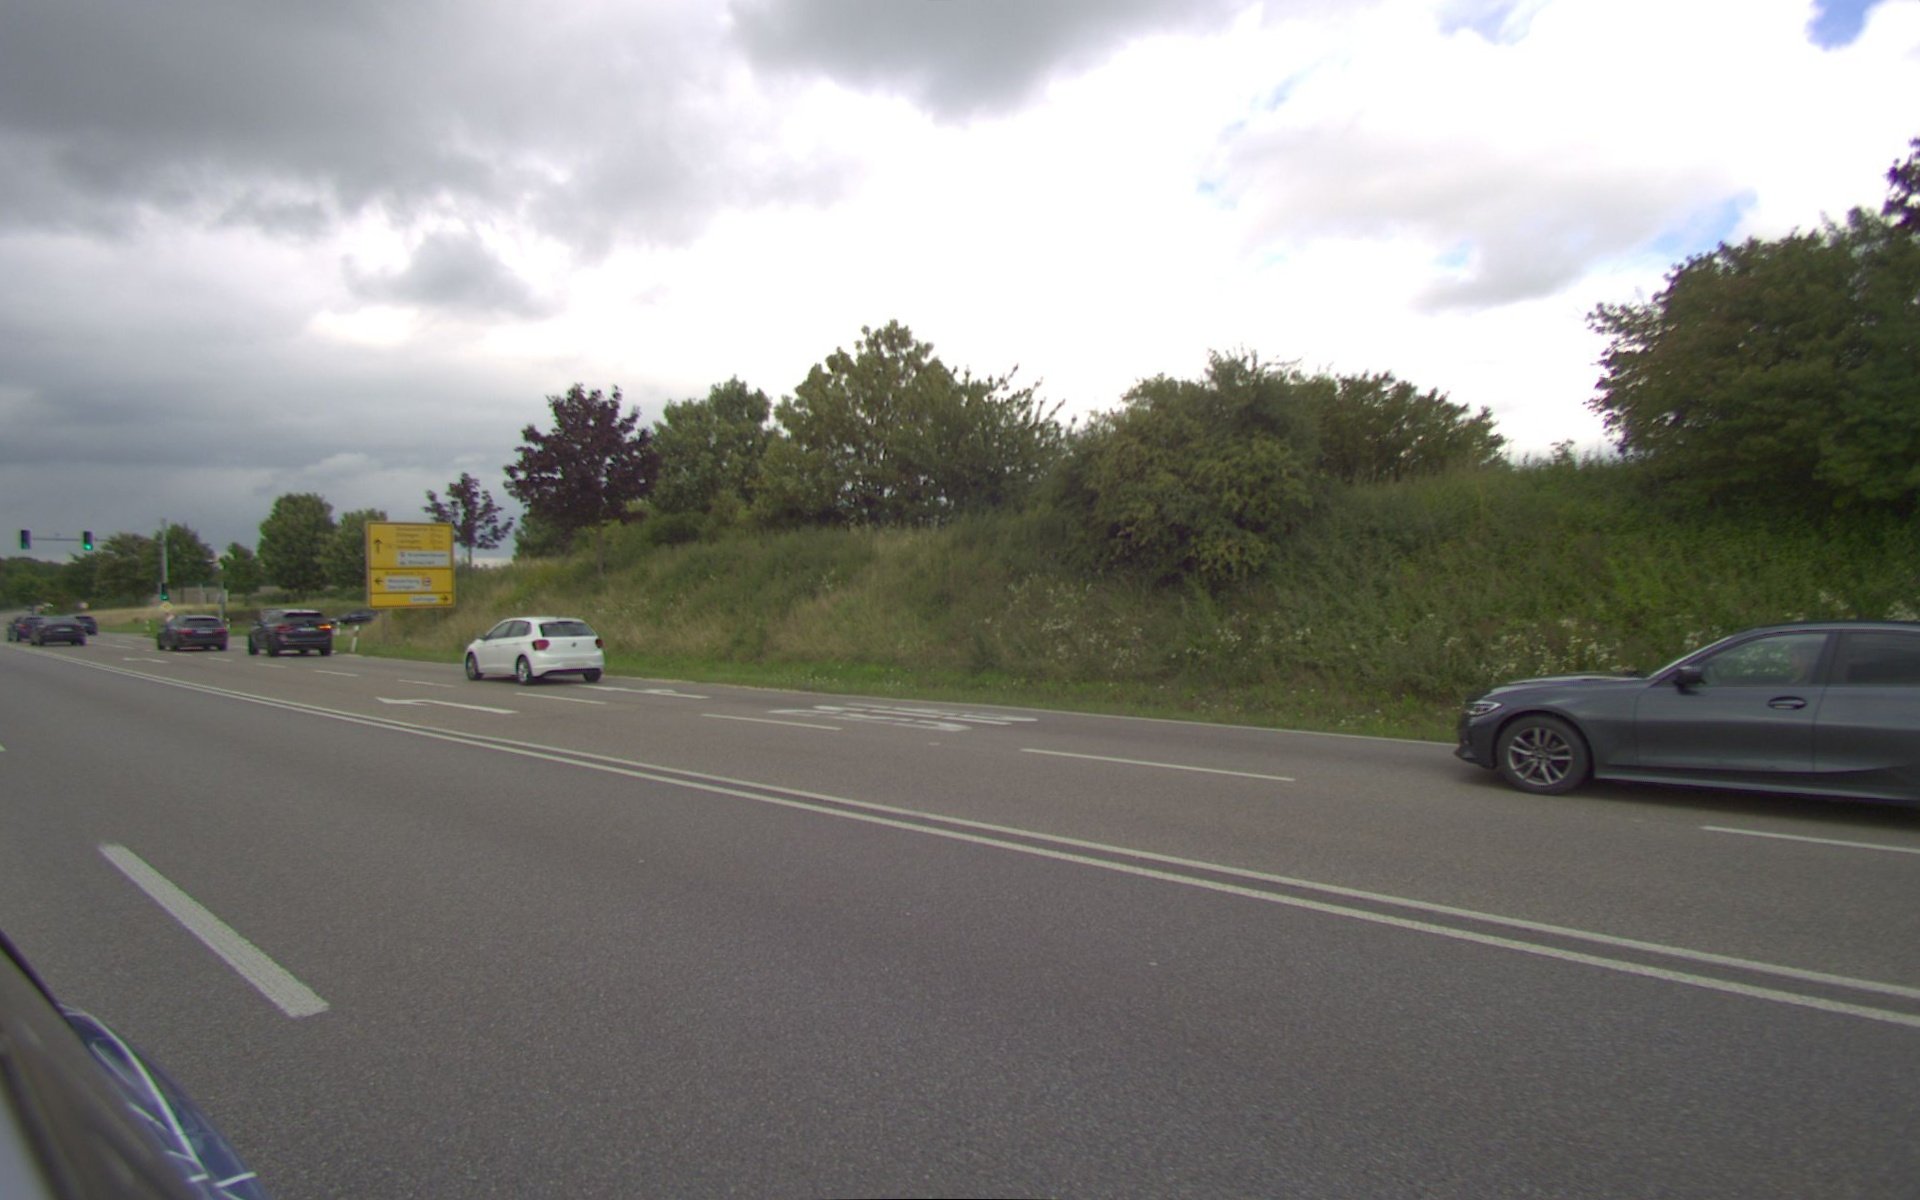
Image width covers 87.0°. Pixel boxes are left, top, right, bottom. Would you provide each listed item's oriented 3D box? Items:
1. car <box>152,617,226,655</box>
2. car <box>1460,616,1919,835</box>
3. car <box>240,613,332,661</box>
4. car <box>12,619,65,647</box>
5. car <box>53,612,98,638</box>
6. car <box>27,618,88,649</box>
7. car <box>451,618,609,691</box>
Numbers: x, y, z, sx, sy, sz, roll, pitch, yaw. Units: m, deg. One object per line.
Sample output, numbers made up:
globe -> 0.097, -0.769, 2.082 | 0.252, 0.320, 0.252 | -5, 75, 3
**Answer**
car -> -32.163, 1.457, 42.189 | 4.659, 1.492, 1.704 | -1, -1, 43
car -> 6.589, 0.852, 7.705 | 4.702, 1.416, 1.776 | -1, 0, 40
car -> -24.571, 1.305, 36.829 | 4.398, 1.608, 1.835 | -1, -1, 43
car -> -50.873, 1.810, 55.832 | 4.000, 1.460, 1.835 | -1, -1, 43
car -> -63.186, 1.797, 72.268 | 4.127, 1.729, 1.832 | -1, 1, 41
car -> -43.673, 1.613, 48.944 | 4.185, 1.418, 1.835 | -1, -1, 43
car -> -9.611, 1.151, 22.497 | 4.053, 1.425, 1.591 | -1, 0, 40
